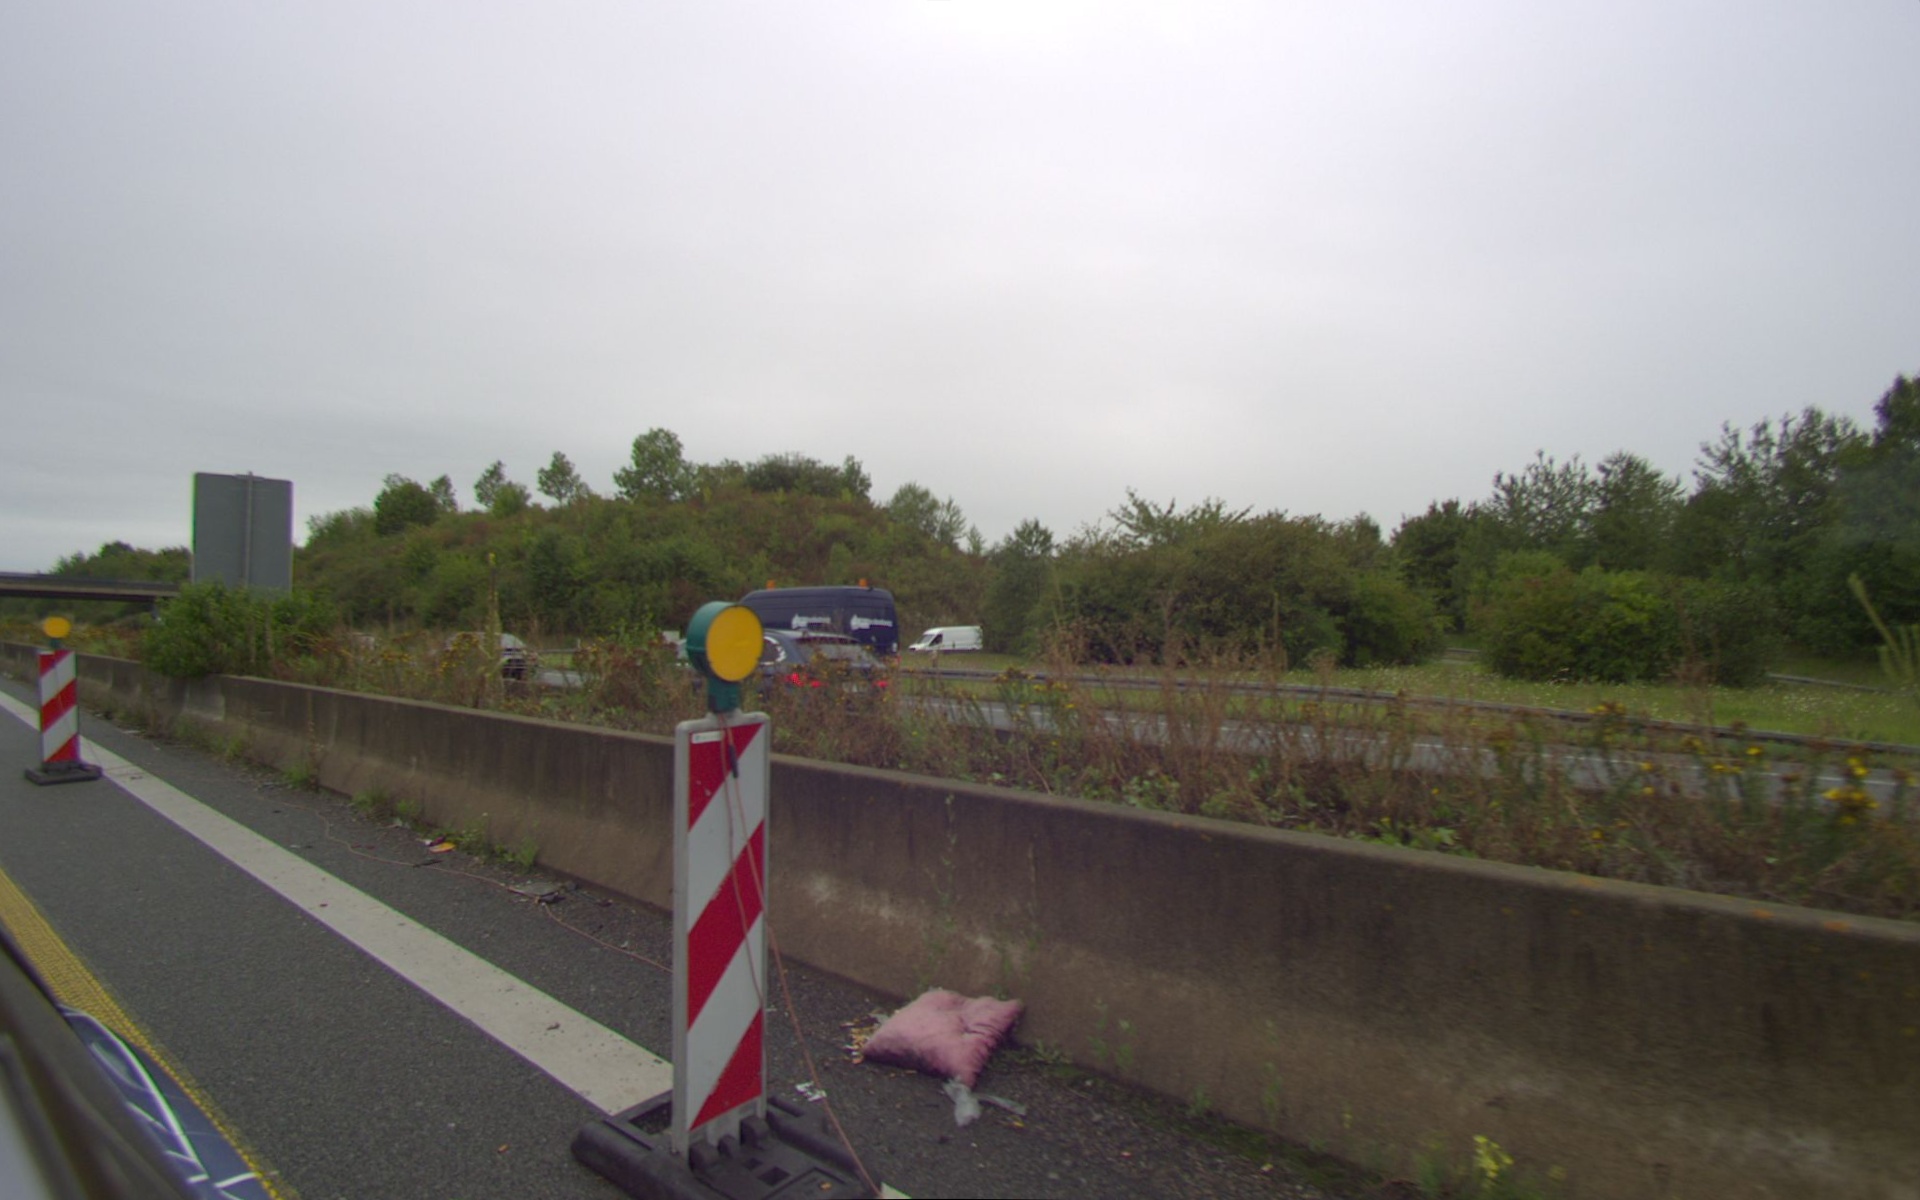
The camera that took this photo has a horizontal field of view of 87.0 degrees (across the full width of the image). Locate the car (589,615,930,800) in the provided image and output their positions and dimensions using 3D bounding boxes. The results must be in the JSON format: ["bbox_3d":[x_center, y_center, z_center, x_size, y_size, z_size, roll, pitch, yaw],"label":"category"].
[{"bbox_3d":[-2.780,1.205,13.367,4.669,1.973,1.973,0,0,41],"label":"car"}]

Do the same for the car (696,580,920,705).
[{"bbox_3d":[-3.728,0.906,23.949,5.846,2.629,2.029,0,0,42],"label":"car"}]

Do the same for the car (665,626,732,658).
[{"bbox_3d":[-16.812,2.708,65.246,3.936,2.029,2.003,1,-2,-8],"label":"car"}]

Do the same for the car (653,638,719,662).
[{"bbox_3d":[-17.440,3.188,64.569,3.934,1.414,1.925,1,-2,-12],"label":"car"}]

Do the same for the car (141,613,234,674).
[{"bbox_3d":[-27.607,1.484,36.110,5.253,2.029,1.748,-1,-2,43],"label":"car"}]

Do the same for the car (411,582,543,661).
[{"bbox_3d":[-13.480,0.556,28.151,3.999,2.029,1.972,0,0,42],"label":"car"}]

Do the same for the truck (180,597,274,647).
[{"bbox_3d":[-57.713,1.823,79.445,14.574,3.647,2.861,-2,-3,42],"label":"truck"}]
